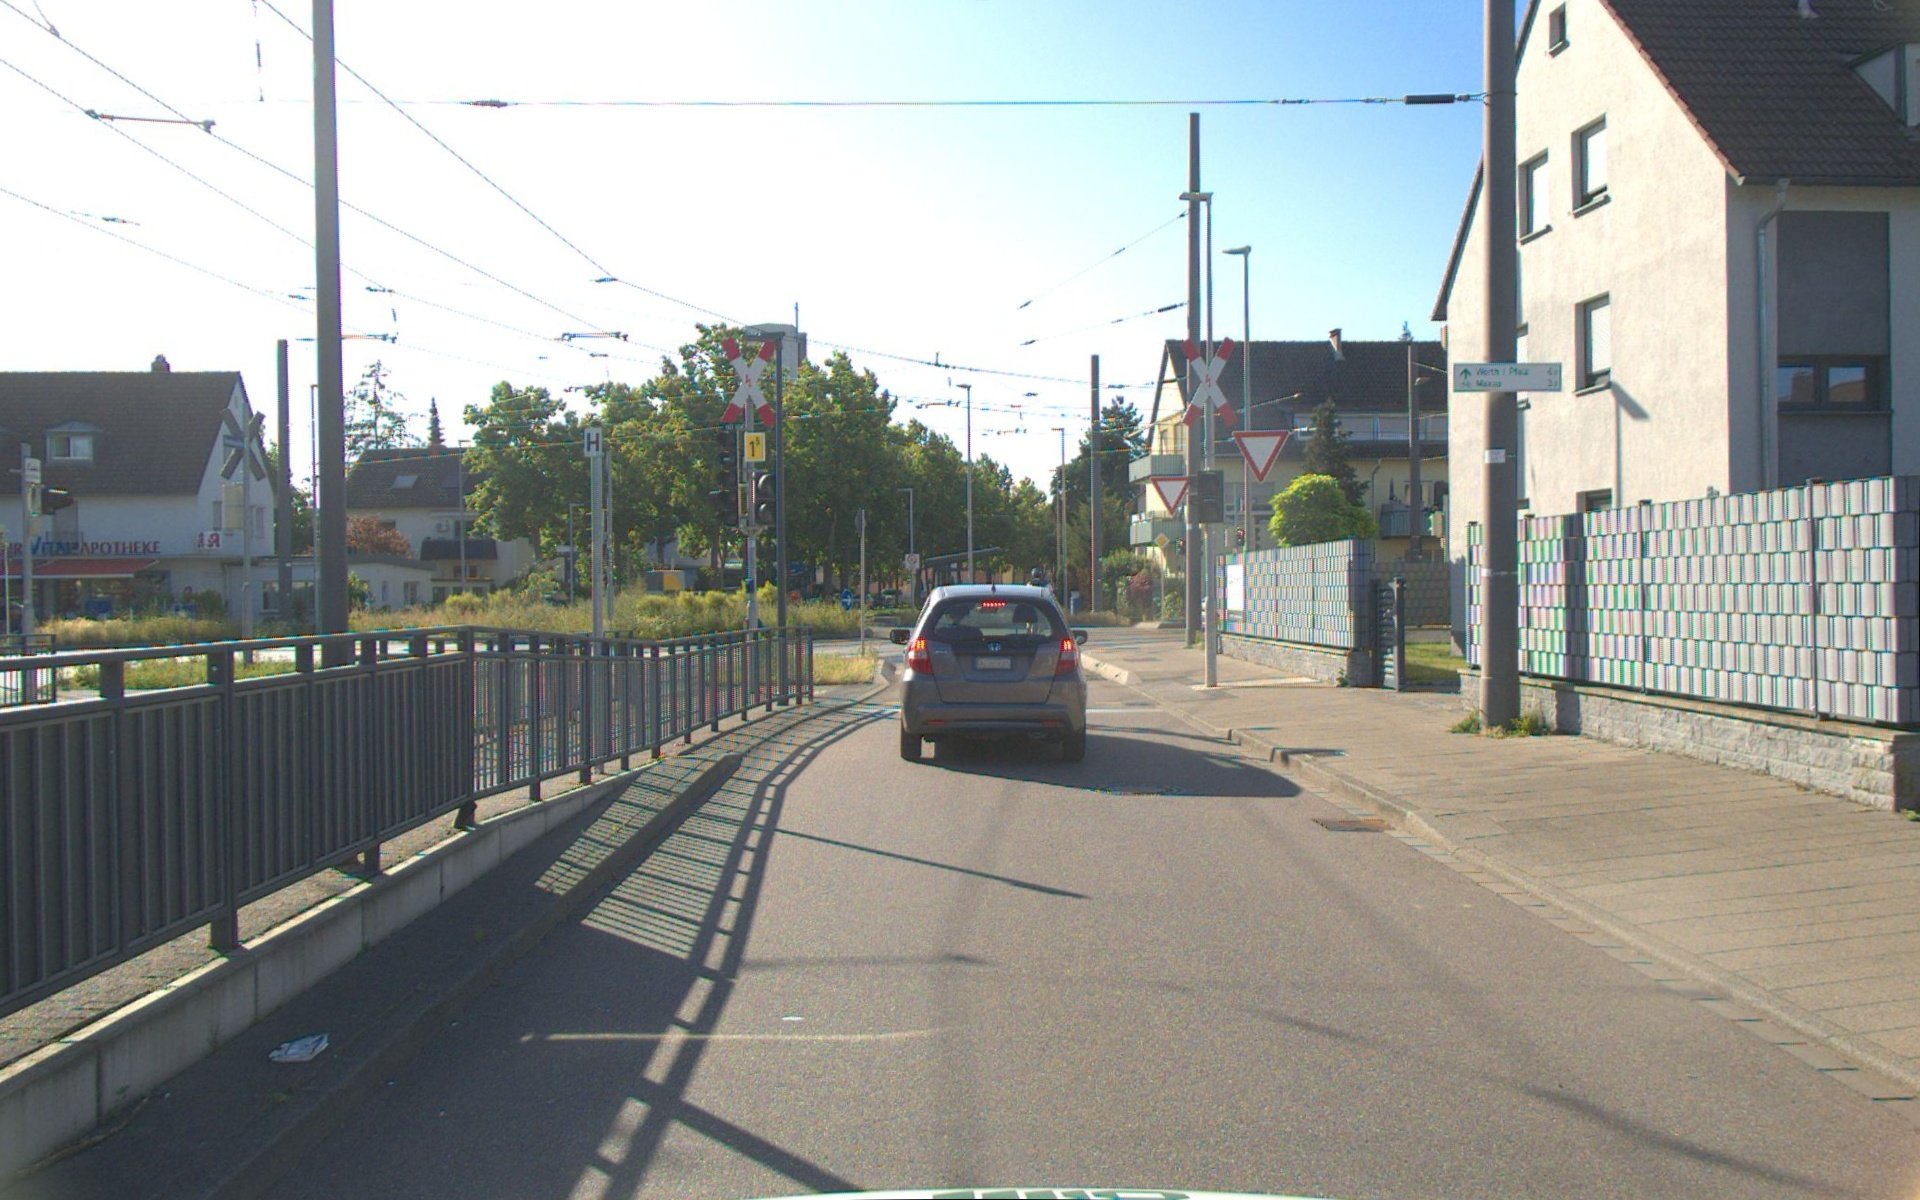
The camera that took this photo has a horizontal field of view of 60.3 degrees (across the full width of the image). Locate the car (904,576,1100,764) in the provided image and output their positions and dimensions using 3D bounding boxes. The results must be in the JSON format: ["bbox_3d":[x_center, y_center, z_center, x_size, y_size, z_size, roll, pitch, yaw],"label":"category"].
[{"bbox_3d":[0.298,0.579,15.625,1.637,1.562,3.486,1,0,-2],"label":"car"}]

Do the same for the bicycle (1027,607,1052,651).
[{"bbox_3d":[1.777,0.639,37.145,0.465,0.978,1.656,1,0,-1],"label":"bicycle"}]

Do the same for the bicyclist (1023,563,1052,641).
[{"bbox_3d":[1.743,0.053,37.136,0.586,1.731,0.683,1,-1,-1],"label":"bicyclist"}]

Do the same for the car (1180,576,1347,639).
[{"bbox_3d":[7.886,0.200,42.964,3.929,1.556,1.797,1,0,-21],"label":"car"}]
